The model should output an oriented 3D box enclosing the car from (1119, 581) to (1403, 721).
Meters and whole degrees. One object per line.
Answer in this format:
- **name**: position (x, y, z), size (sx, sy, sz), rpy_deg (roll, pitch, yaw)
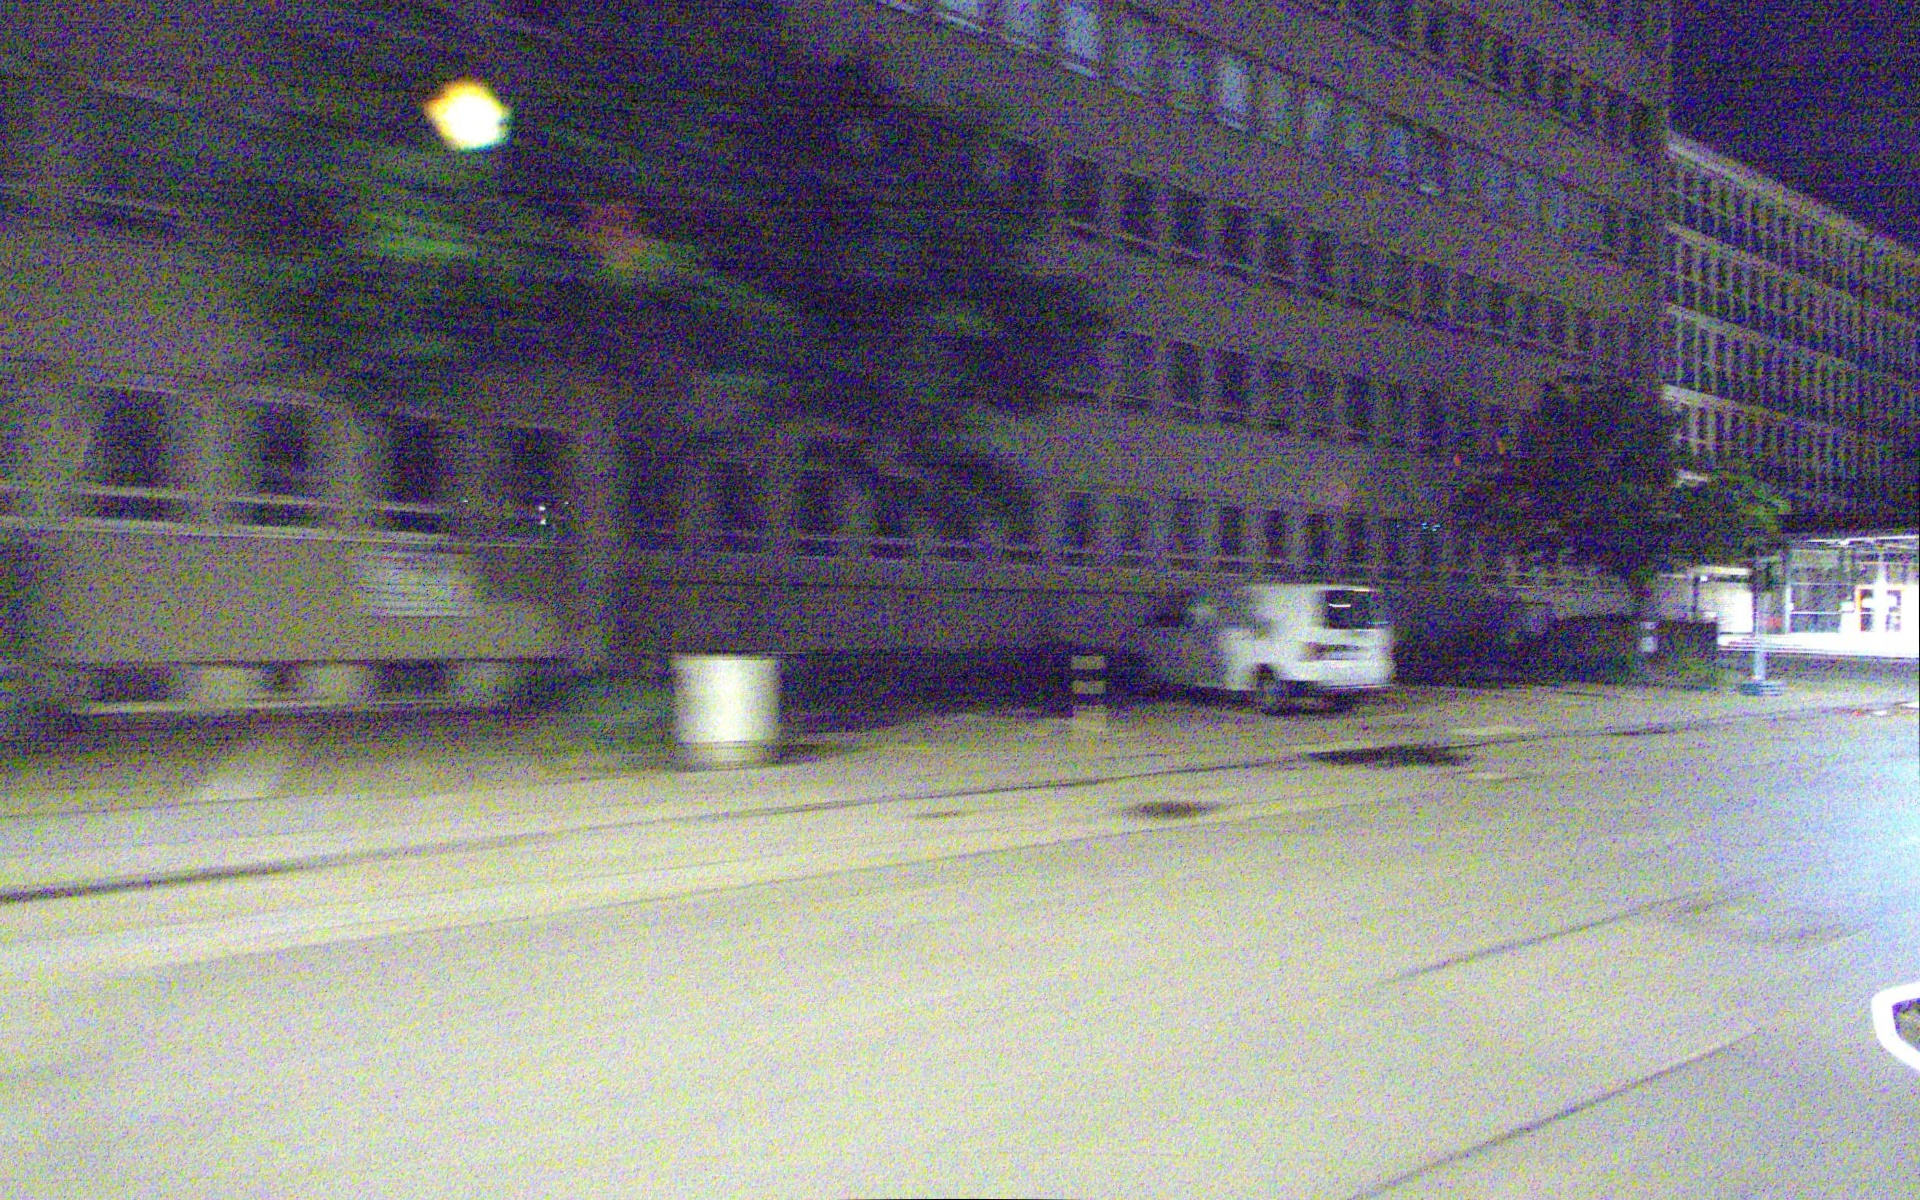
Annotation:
- **car**: position (4.813, 0.711, 16.753), size (1.976, 1.998, 4.411), rpy_deg (0, 1, -29)
